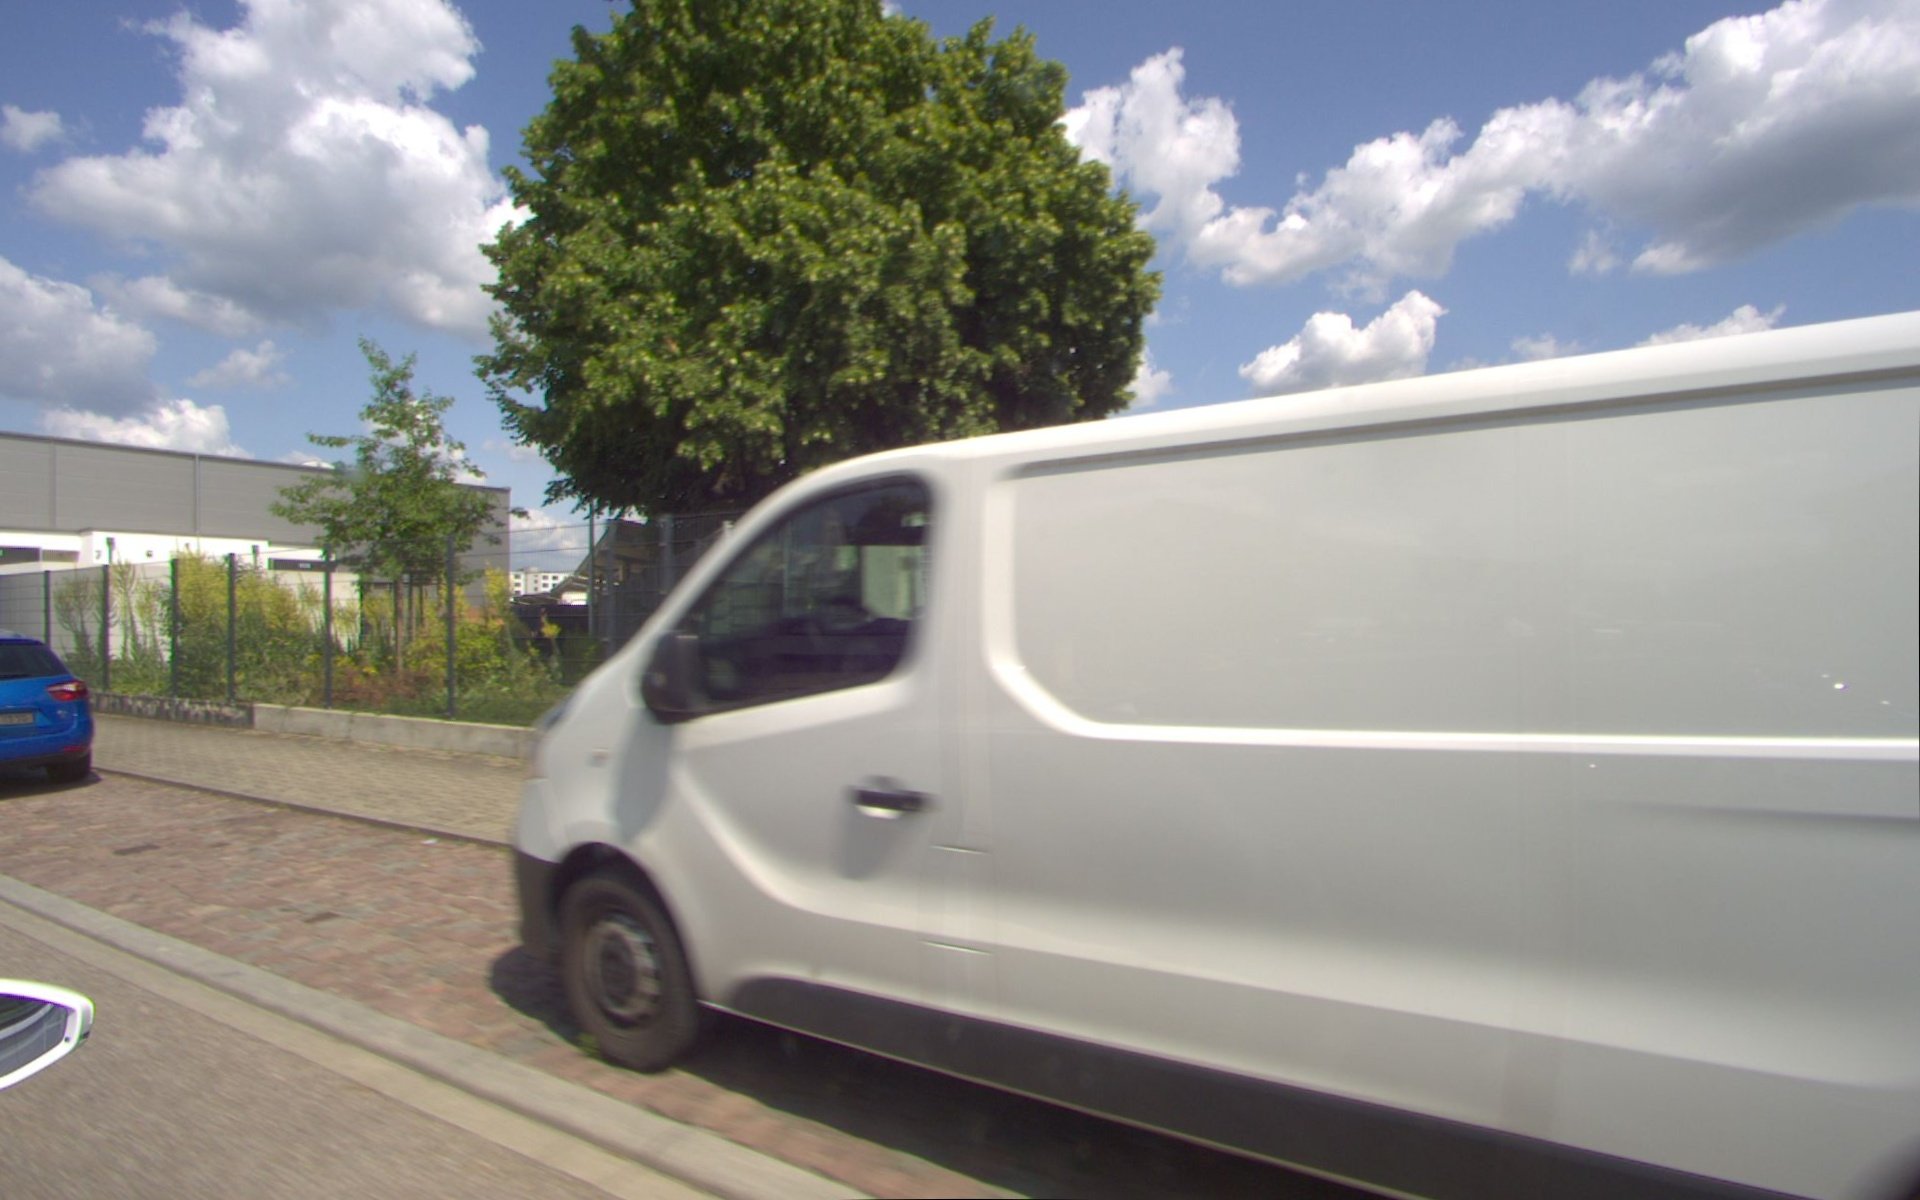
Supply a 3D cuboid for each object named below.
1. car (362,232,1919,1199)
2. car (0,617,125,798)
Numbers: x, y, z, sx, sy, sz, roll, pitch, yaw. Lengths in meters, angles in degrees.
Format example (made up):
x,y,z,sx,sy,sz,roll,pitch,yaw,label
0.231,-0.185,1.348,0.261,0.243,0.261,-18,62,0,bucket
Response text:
x,y,z,sx,sy,sz,roll,pitch,yaw,label
0.571,0.516,3.206,5.569,2.040,1.990,-1,-1,32,car
-9.722,0.957,9.380,4.012,1.480,1.687,-1,1,31,car
